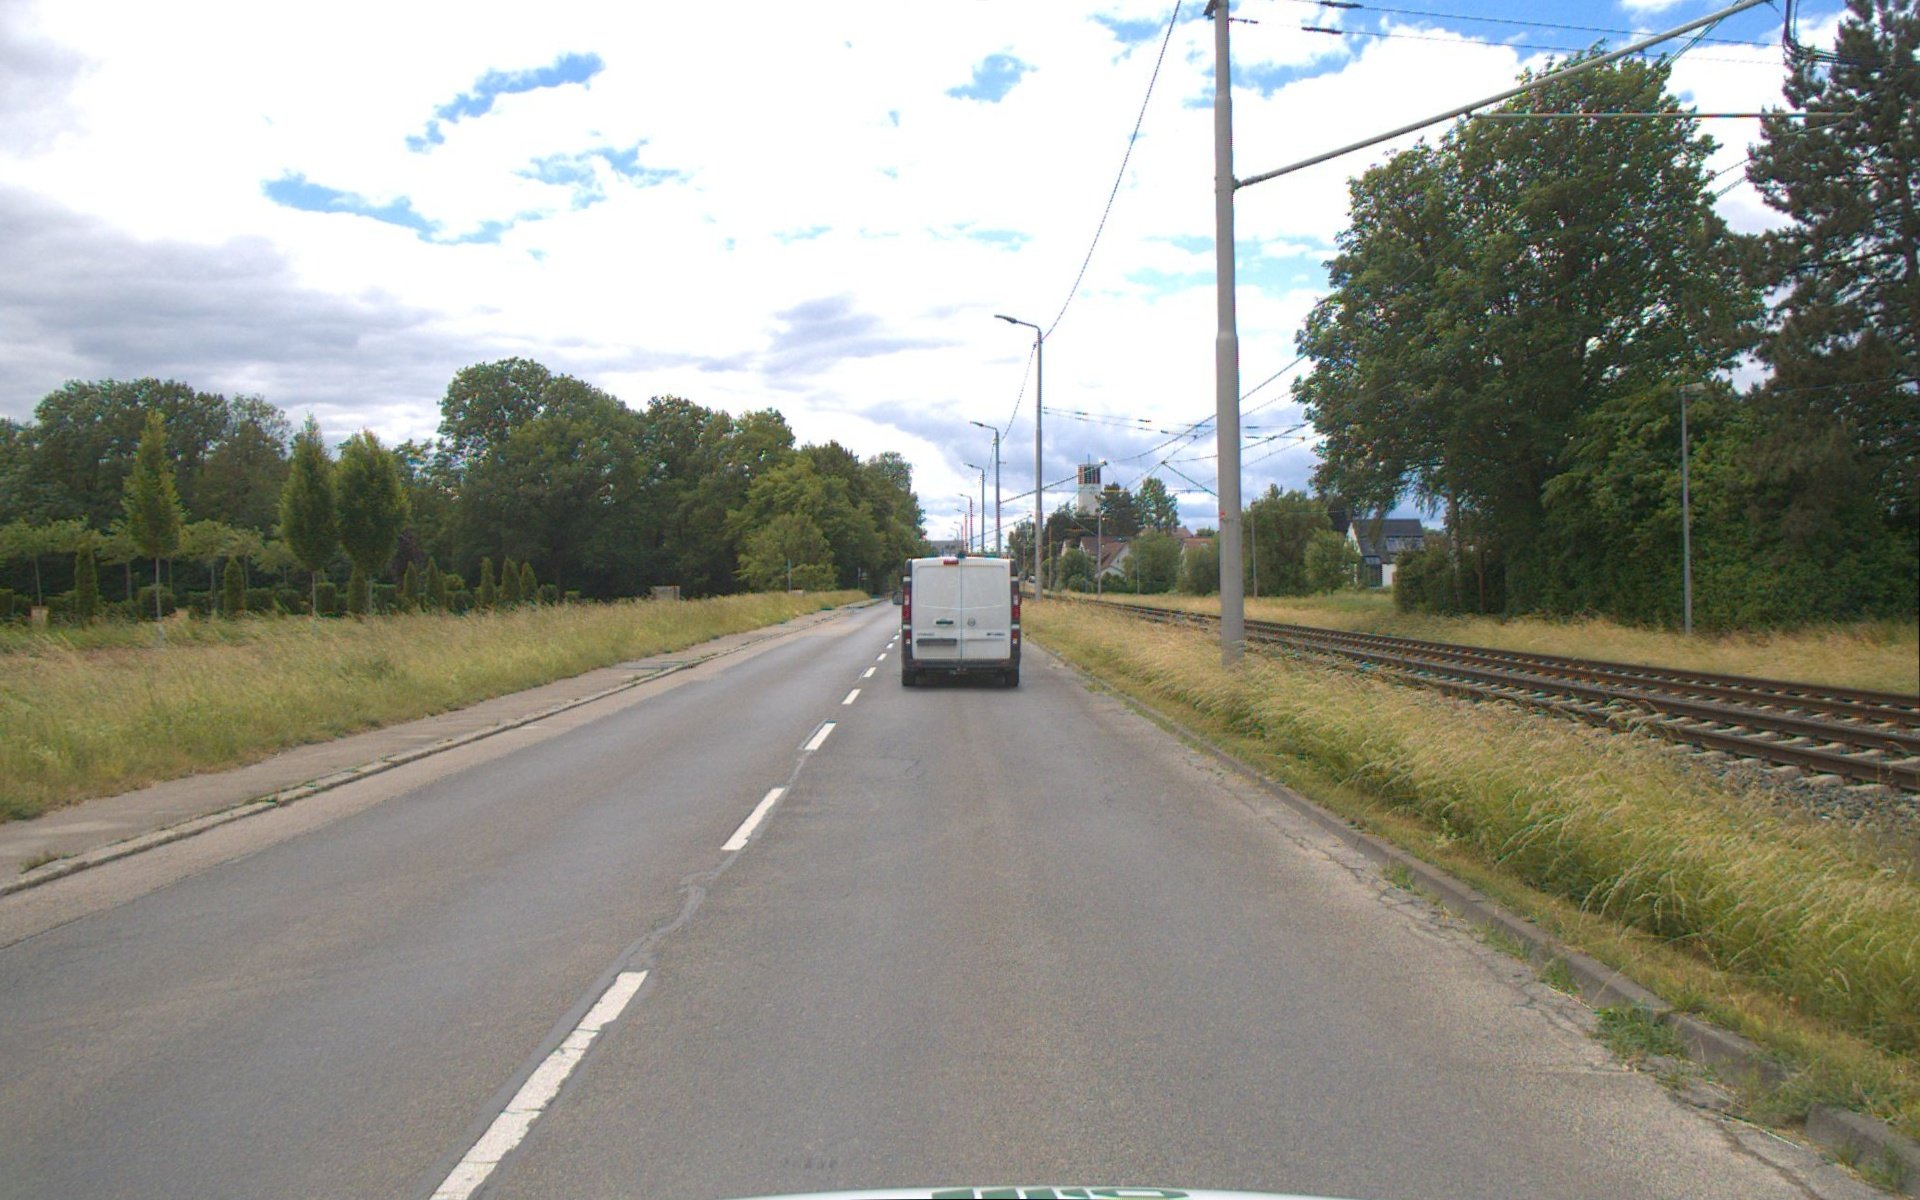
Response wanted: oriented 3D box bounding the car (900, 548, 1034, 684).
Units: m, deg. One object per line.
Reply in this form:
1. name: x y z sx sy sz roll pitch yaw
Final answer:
1. car: 0.046 0.214 26.452 1.953 1.991 3.999 1 1 -2
